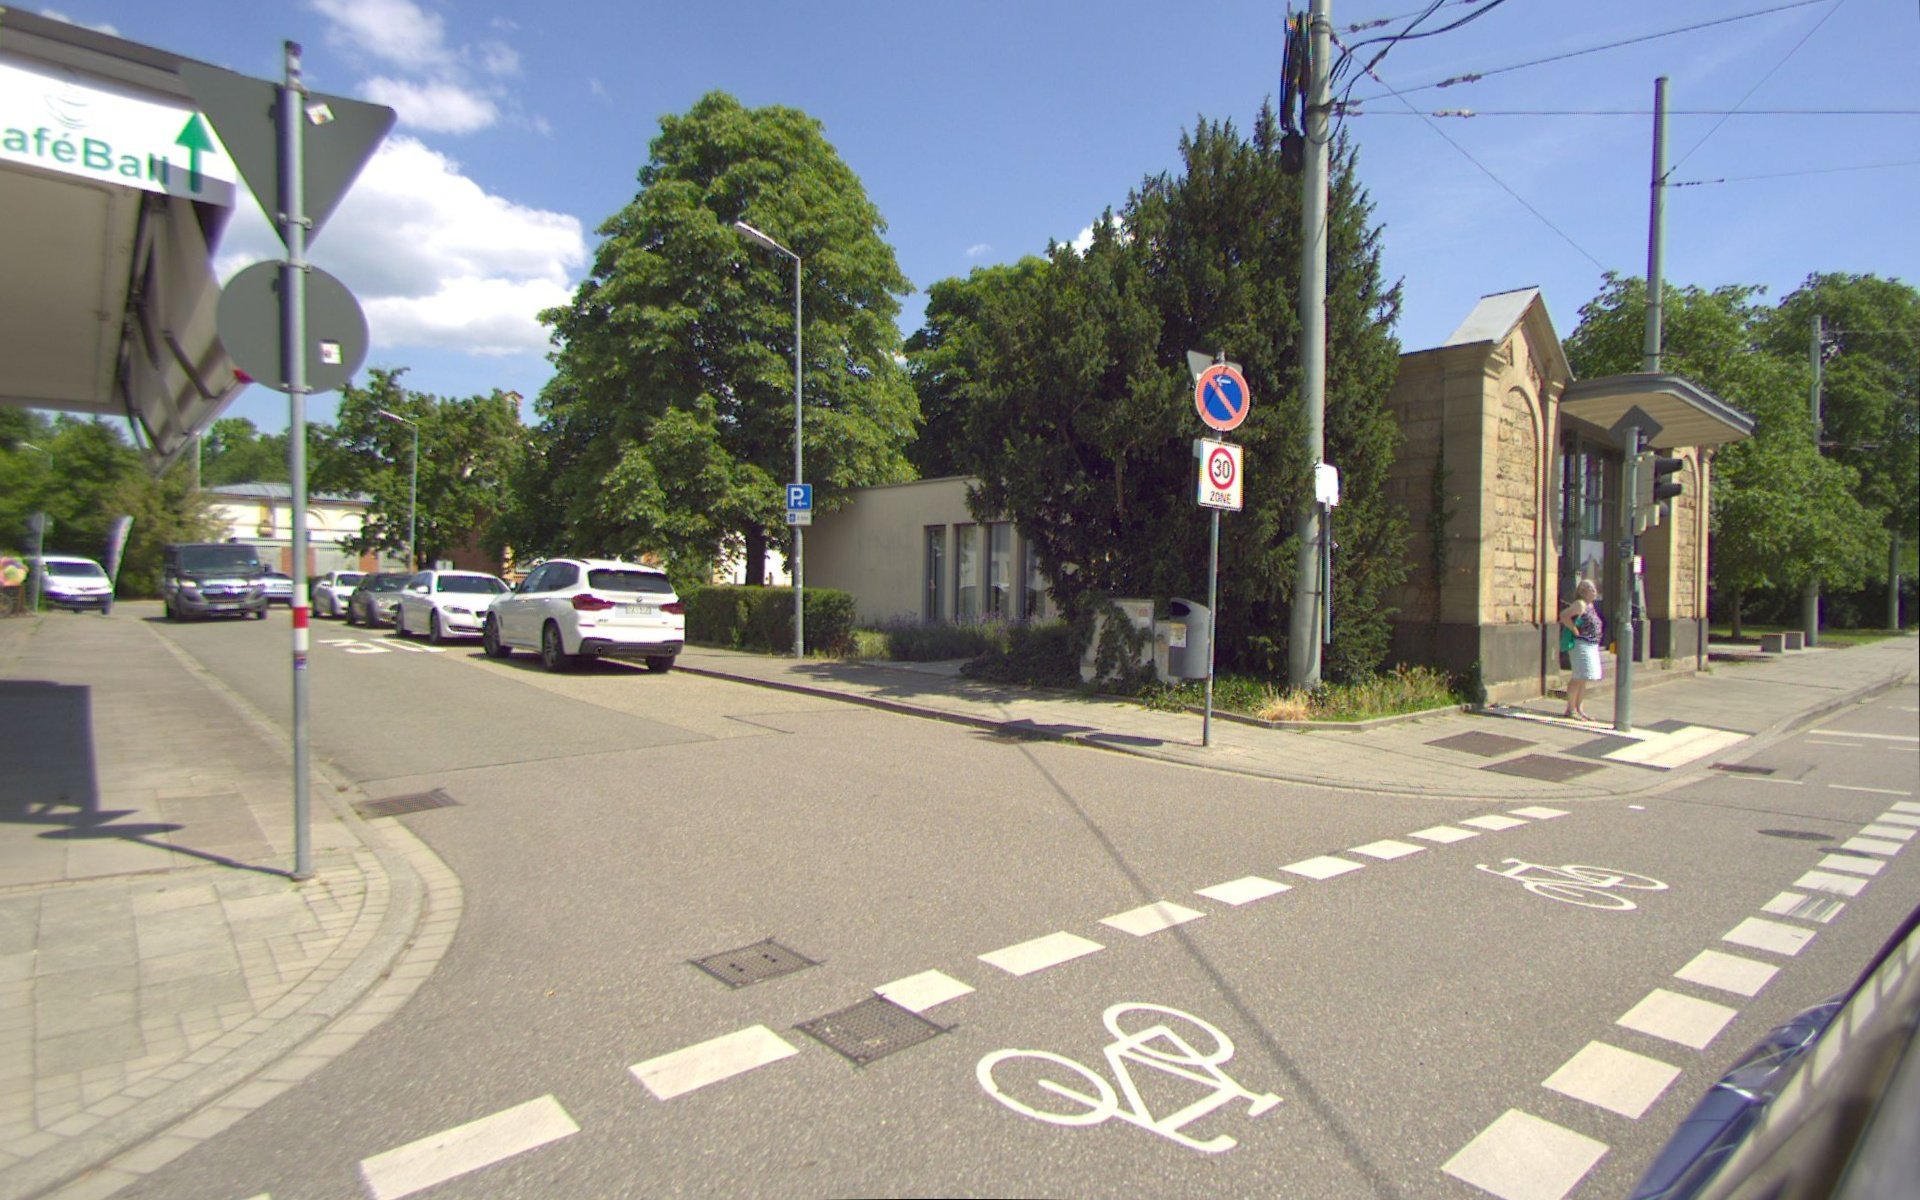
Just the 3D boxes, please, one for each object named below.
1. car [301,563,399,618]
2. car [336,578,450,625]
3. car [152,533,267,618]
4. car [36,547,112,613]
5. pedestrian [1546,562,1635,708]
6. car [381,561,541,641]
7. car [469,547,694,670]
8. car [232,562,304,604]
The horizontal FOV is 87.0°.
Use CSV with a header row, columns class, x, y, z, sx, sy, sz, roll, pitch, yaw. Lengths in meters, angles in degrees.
class,x,y,z,sx,sy,sz,roll,pitch,yaw
car,-17.943,-0.303,29.701,1.832,1.490,3.684,2,0,-41
car,-14.563,0.028,25.929,1.832,1.056,3.684,2,0,-41
car,-21.474,-0.714,28.886,2.160,2.207,4.521,-1,2,-43
car,-29.151,-0.674,33.255,1.745,2.010,4.171,-1,2,-43
pedestrian,7.496,0.399,12.045,0.667,1.687,0.566,1,1,-18
car,-10.394,-0.018,20.914,1.909,1.468,4.411,2,0,-41
car,-6.123,0.074,16.075,1.909,1.677,4.411,2,0,-41
car,-26.260,-0.664,38.371,1.832,1.490,3.684,2,0,-41
